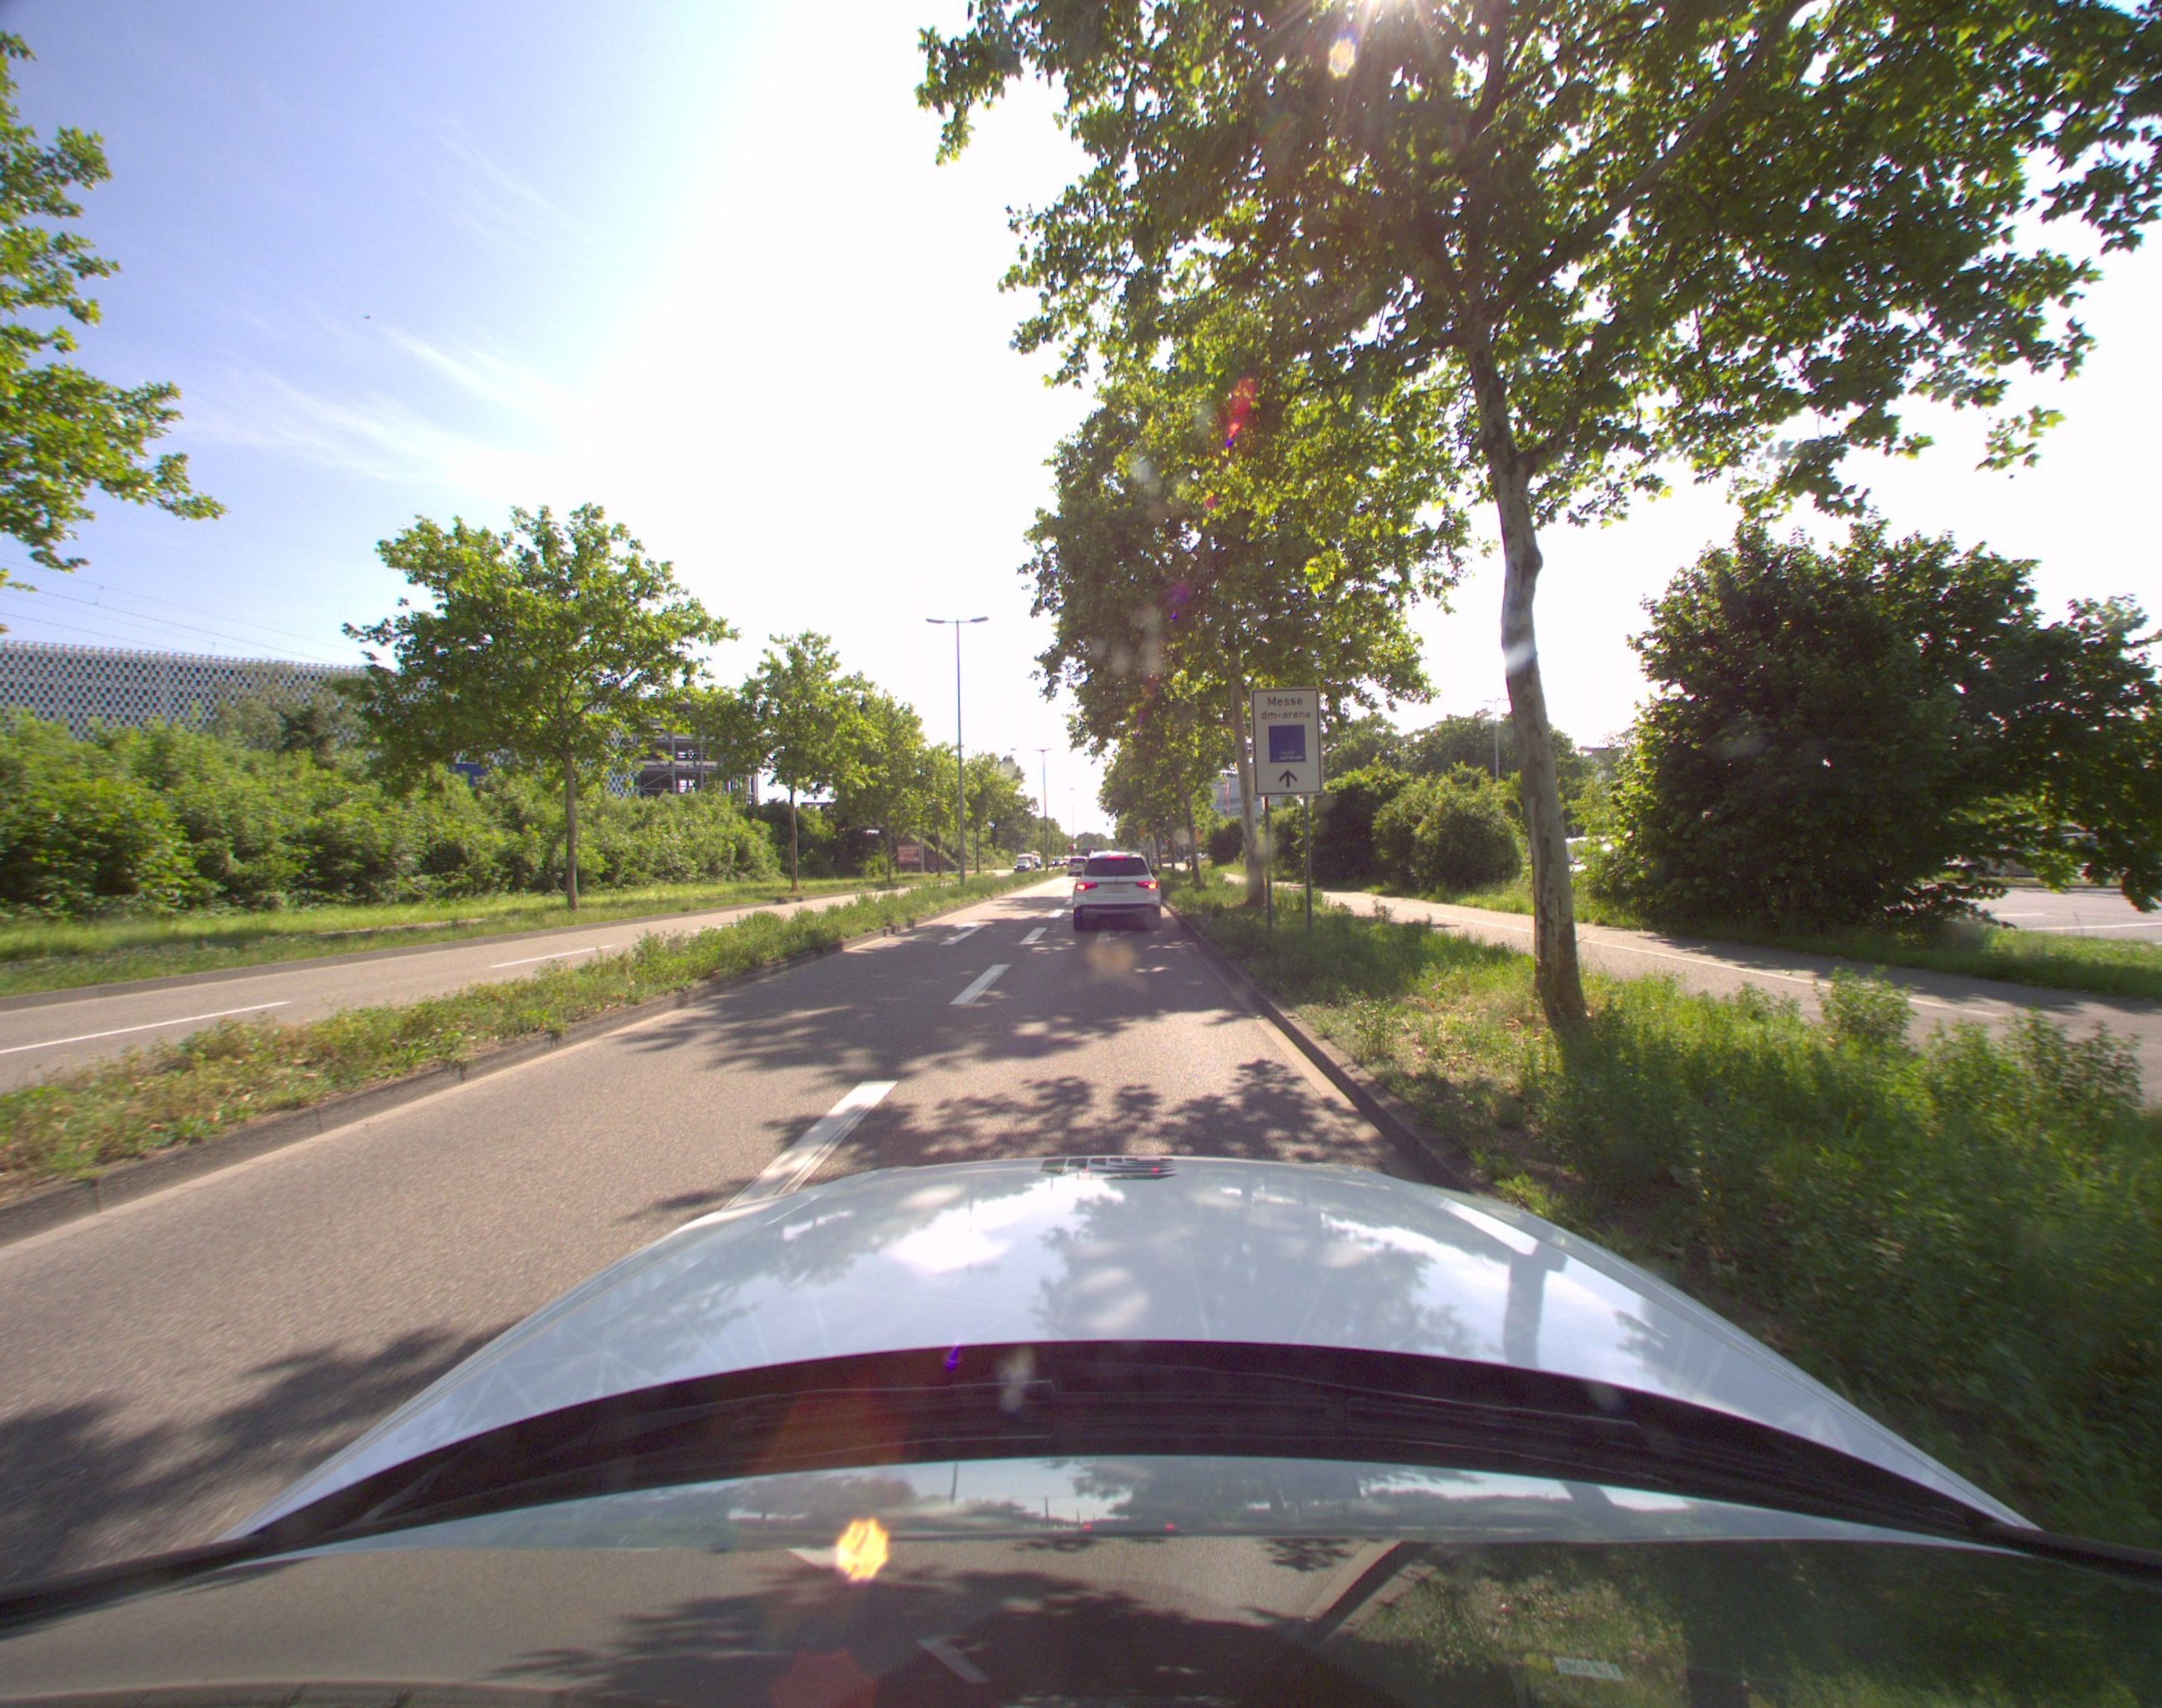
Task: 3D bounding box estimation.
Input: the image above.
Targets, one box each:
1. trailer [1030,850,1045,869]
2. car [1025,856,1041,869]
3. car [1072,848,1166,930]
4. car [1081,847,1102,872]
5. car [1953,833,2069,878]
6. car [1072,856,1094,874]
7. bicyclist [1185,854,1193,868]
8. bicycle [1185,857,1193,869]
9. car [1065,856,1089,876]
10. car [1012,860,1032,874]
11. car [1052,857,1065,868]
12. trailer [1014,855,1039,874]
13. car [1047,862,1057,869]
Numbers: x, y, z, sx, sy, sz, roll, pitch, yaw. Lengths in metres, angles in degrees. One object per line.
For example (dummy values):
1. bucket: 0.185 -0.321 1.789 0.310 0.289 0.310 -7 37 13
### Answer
1. trailer: -6.621 0.824 124.417 1.872 2.744 4.833 0 -1 3
2. car: -7.001 1.226 119.547 1.757 1.790 5.380 0 -1 3
3. car: 0.741 0.711 18.218 1.848 1.607 3.998 1 -1 -1
4. car: 1.230 0.623 91.759 2.072 2.656 4.878 0 -1 3
5. car: 32.184 0.057 28.230 0.948 1.492 2.593 1 -1 -40
6. car: 0.232 1.001 75.653 1.764 1.647 4.088 -1 -1 3
7. bicyclist: 11.582 0.714 87.298 0.701 1.477 1.010 -1 -1 3
8. bicycle: 11.567 0.942 87.300 0.719 1.299 2.097 -1 -1 3
9. car: -0.310 1.026 69.376 1.764 1.647 4.356 -1 -1 3
10. car: -6.901 1.489 95.601 1.708 1.622 4.364 -1 -1 3
11. car: -3.711 1.389 136.370 1.723 1.809 4.235 0 -1 3
12. trailer: -6.659 1.263 100.557 2.299 2.265 5.543 -1 -1 3
13. car: -5.753 2.287 163.250 1.694 1.365 3.647 -1 0 2
